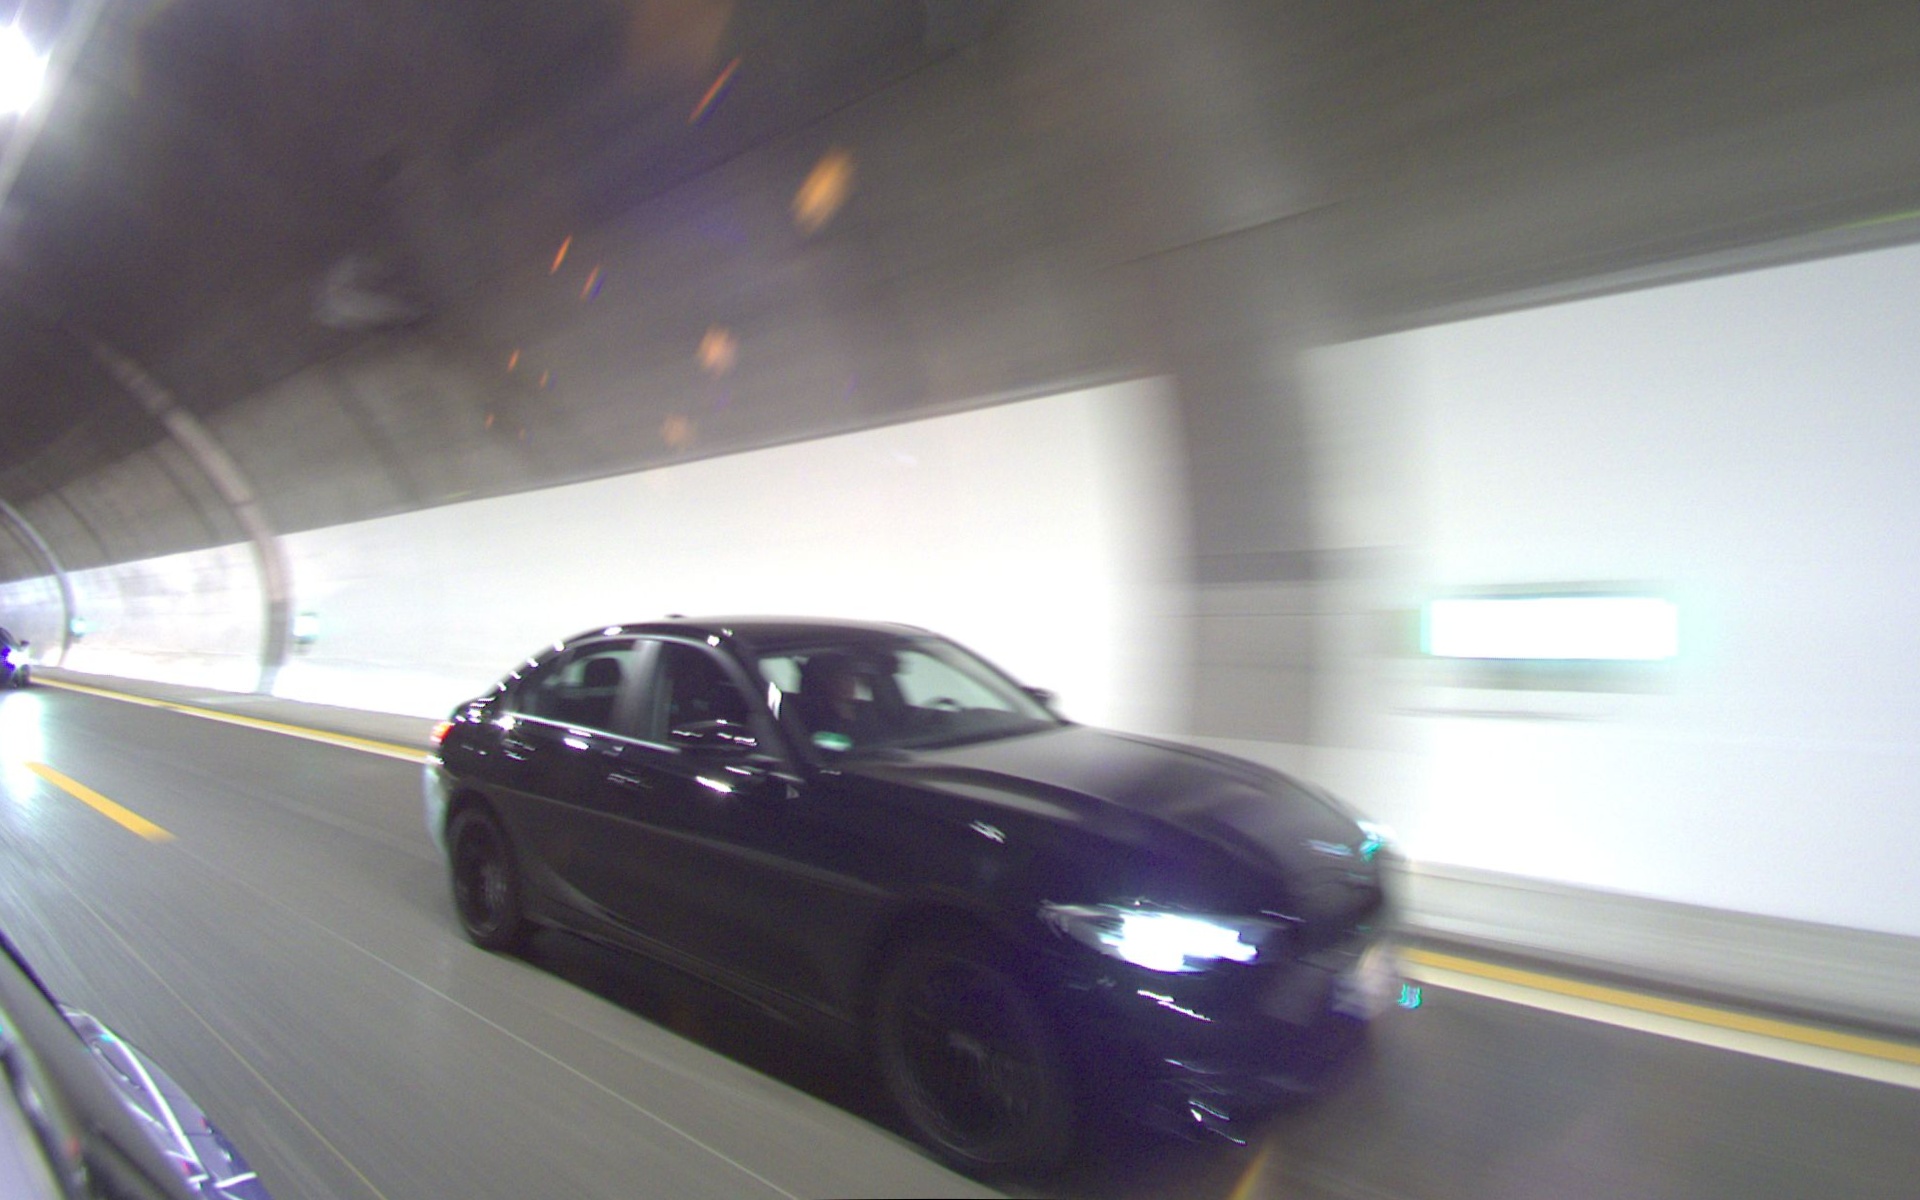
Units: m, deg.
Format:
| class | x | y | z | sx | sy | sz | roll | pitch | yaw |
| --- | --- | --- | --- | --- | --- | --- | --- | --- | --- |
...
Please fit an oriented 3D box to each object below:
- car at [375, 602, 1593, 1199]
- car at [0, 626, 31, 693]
| class | x | y | z | sx | sy | sz | roll | pitch | yaw |
| --- | --- | --- | --- | --- | --- | --- | --- | --- | --- |
| car | -0.458 | 0.787 | 4.067 | 4.879 | 1.449 | 1.760 | -2 | -1 | 41 |
| car | -23.143 | 1.370 | 23.399 | 4.877 | 1.449 | 1.760 | -2 | -1 | 39 |
